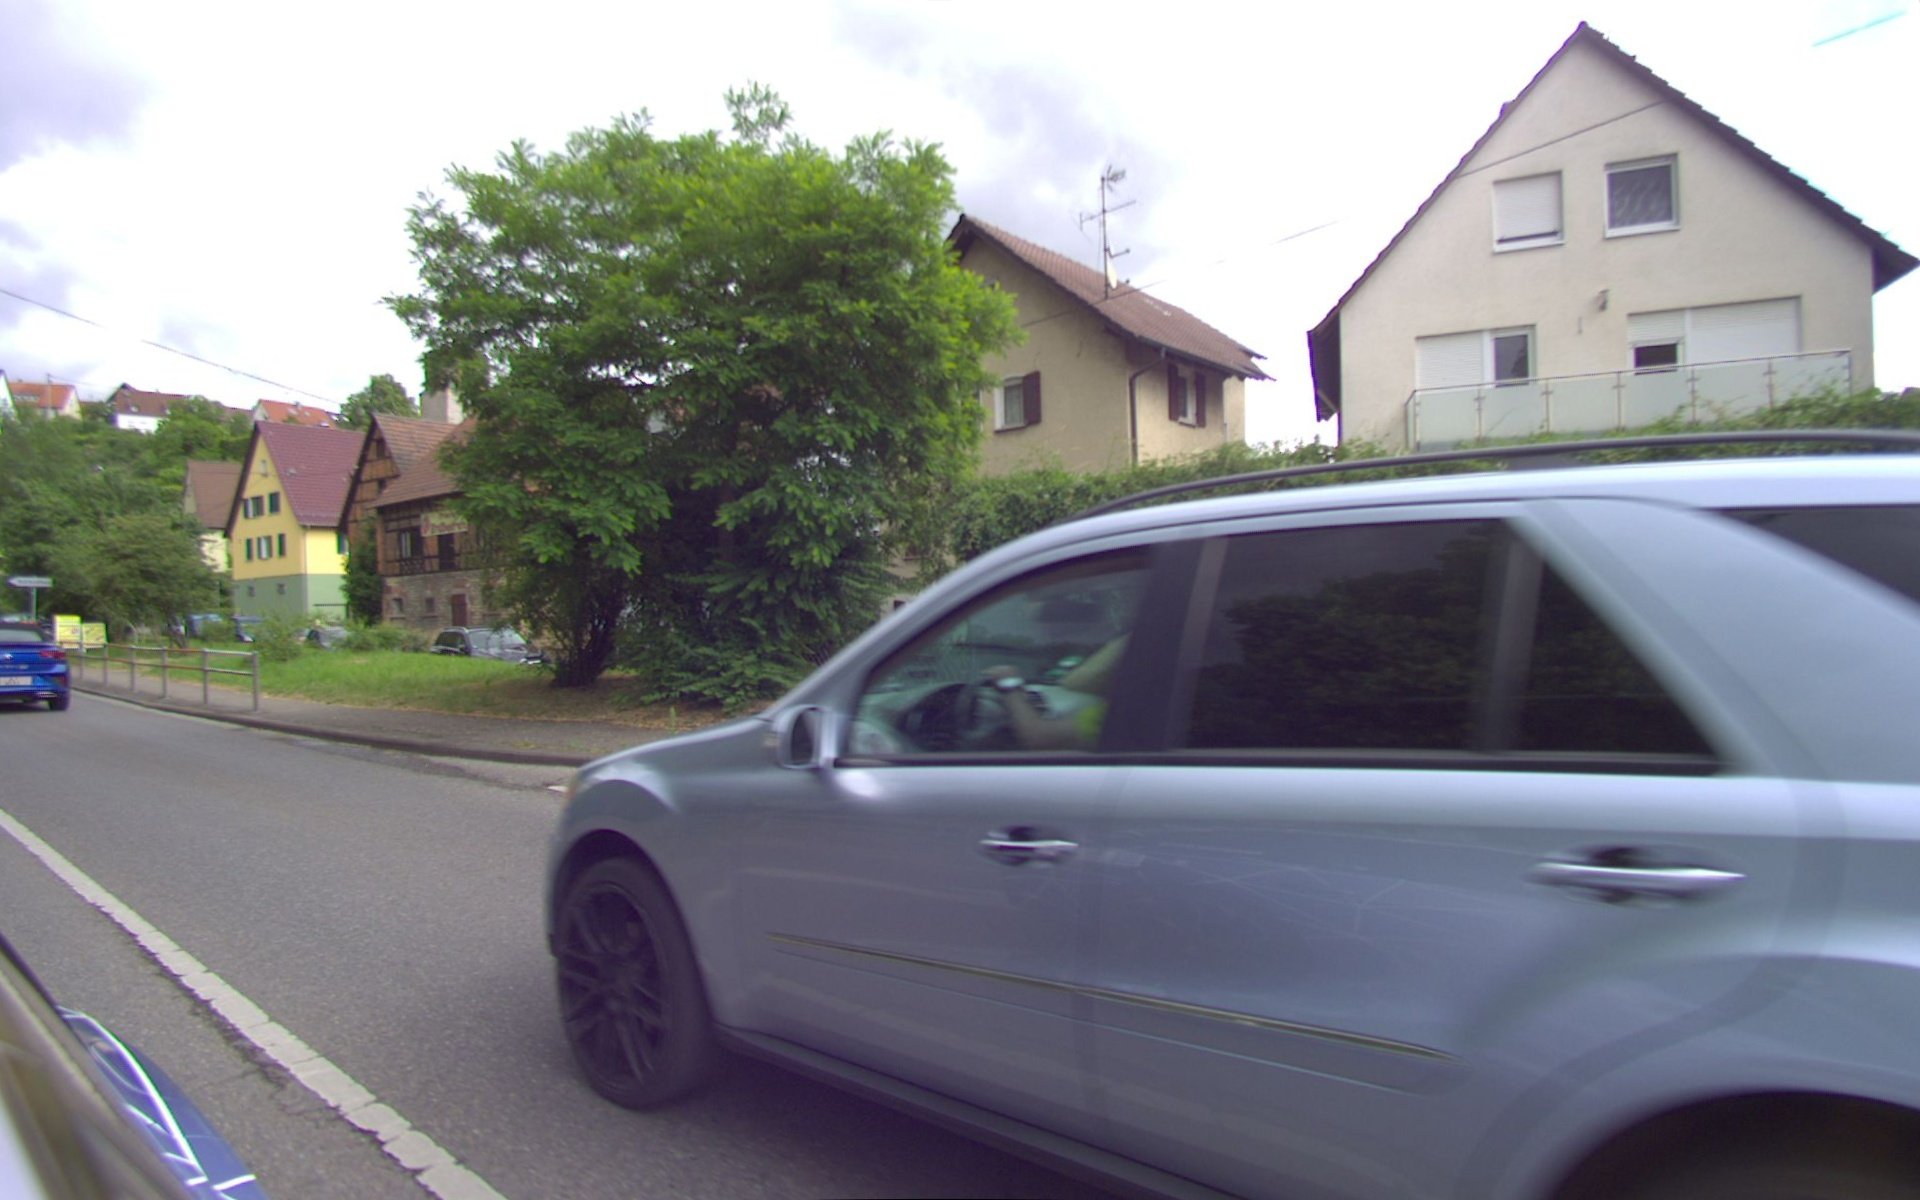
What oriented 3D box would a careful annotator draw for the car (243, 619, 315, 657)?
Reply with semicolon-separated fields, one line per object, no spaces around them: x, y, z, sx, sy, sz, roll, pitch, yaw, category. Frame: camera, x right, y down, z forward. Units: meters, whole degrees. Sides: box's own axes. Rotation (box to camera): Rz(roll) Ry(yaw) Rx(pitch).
-30.404;1.661;45.147;4.000;1.630;1.792;-1;-1;43;car

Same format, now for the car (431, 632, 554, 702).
-12.977;1.780;28.001;1.898;1.708;4.003;1;-1;-44;car

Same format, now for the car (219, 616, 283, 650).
-34.959;1.598;49.895;4.000;1.630;1.792;-1;-2;43;car

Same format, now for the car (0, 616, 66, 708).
-17.073;1.046;17.555;4.094;1.480;1.699;-2;-2;39;car

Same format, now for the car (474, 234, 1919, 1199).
0.805;0.488;2.585;4.687;1.737;1.916;-1;-1;39;car

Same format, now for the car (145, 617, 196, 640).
-48.783;1.743;62.512;4.148;1.355;1.629;-1;-2;40;car

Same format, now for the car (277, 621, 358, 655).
-25.593;1.470;40.257;1.970;1.287;4.003;1;-1;-44;car

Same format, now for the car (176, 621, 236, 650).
-43.448;2.006;58.266;4.447;1.630;1.972;-1;-2;42;car
